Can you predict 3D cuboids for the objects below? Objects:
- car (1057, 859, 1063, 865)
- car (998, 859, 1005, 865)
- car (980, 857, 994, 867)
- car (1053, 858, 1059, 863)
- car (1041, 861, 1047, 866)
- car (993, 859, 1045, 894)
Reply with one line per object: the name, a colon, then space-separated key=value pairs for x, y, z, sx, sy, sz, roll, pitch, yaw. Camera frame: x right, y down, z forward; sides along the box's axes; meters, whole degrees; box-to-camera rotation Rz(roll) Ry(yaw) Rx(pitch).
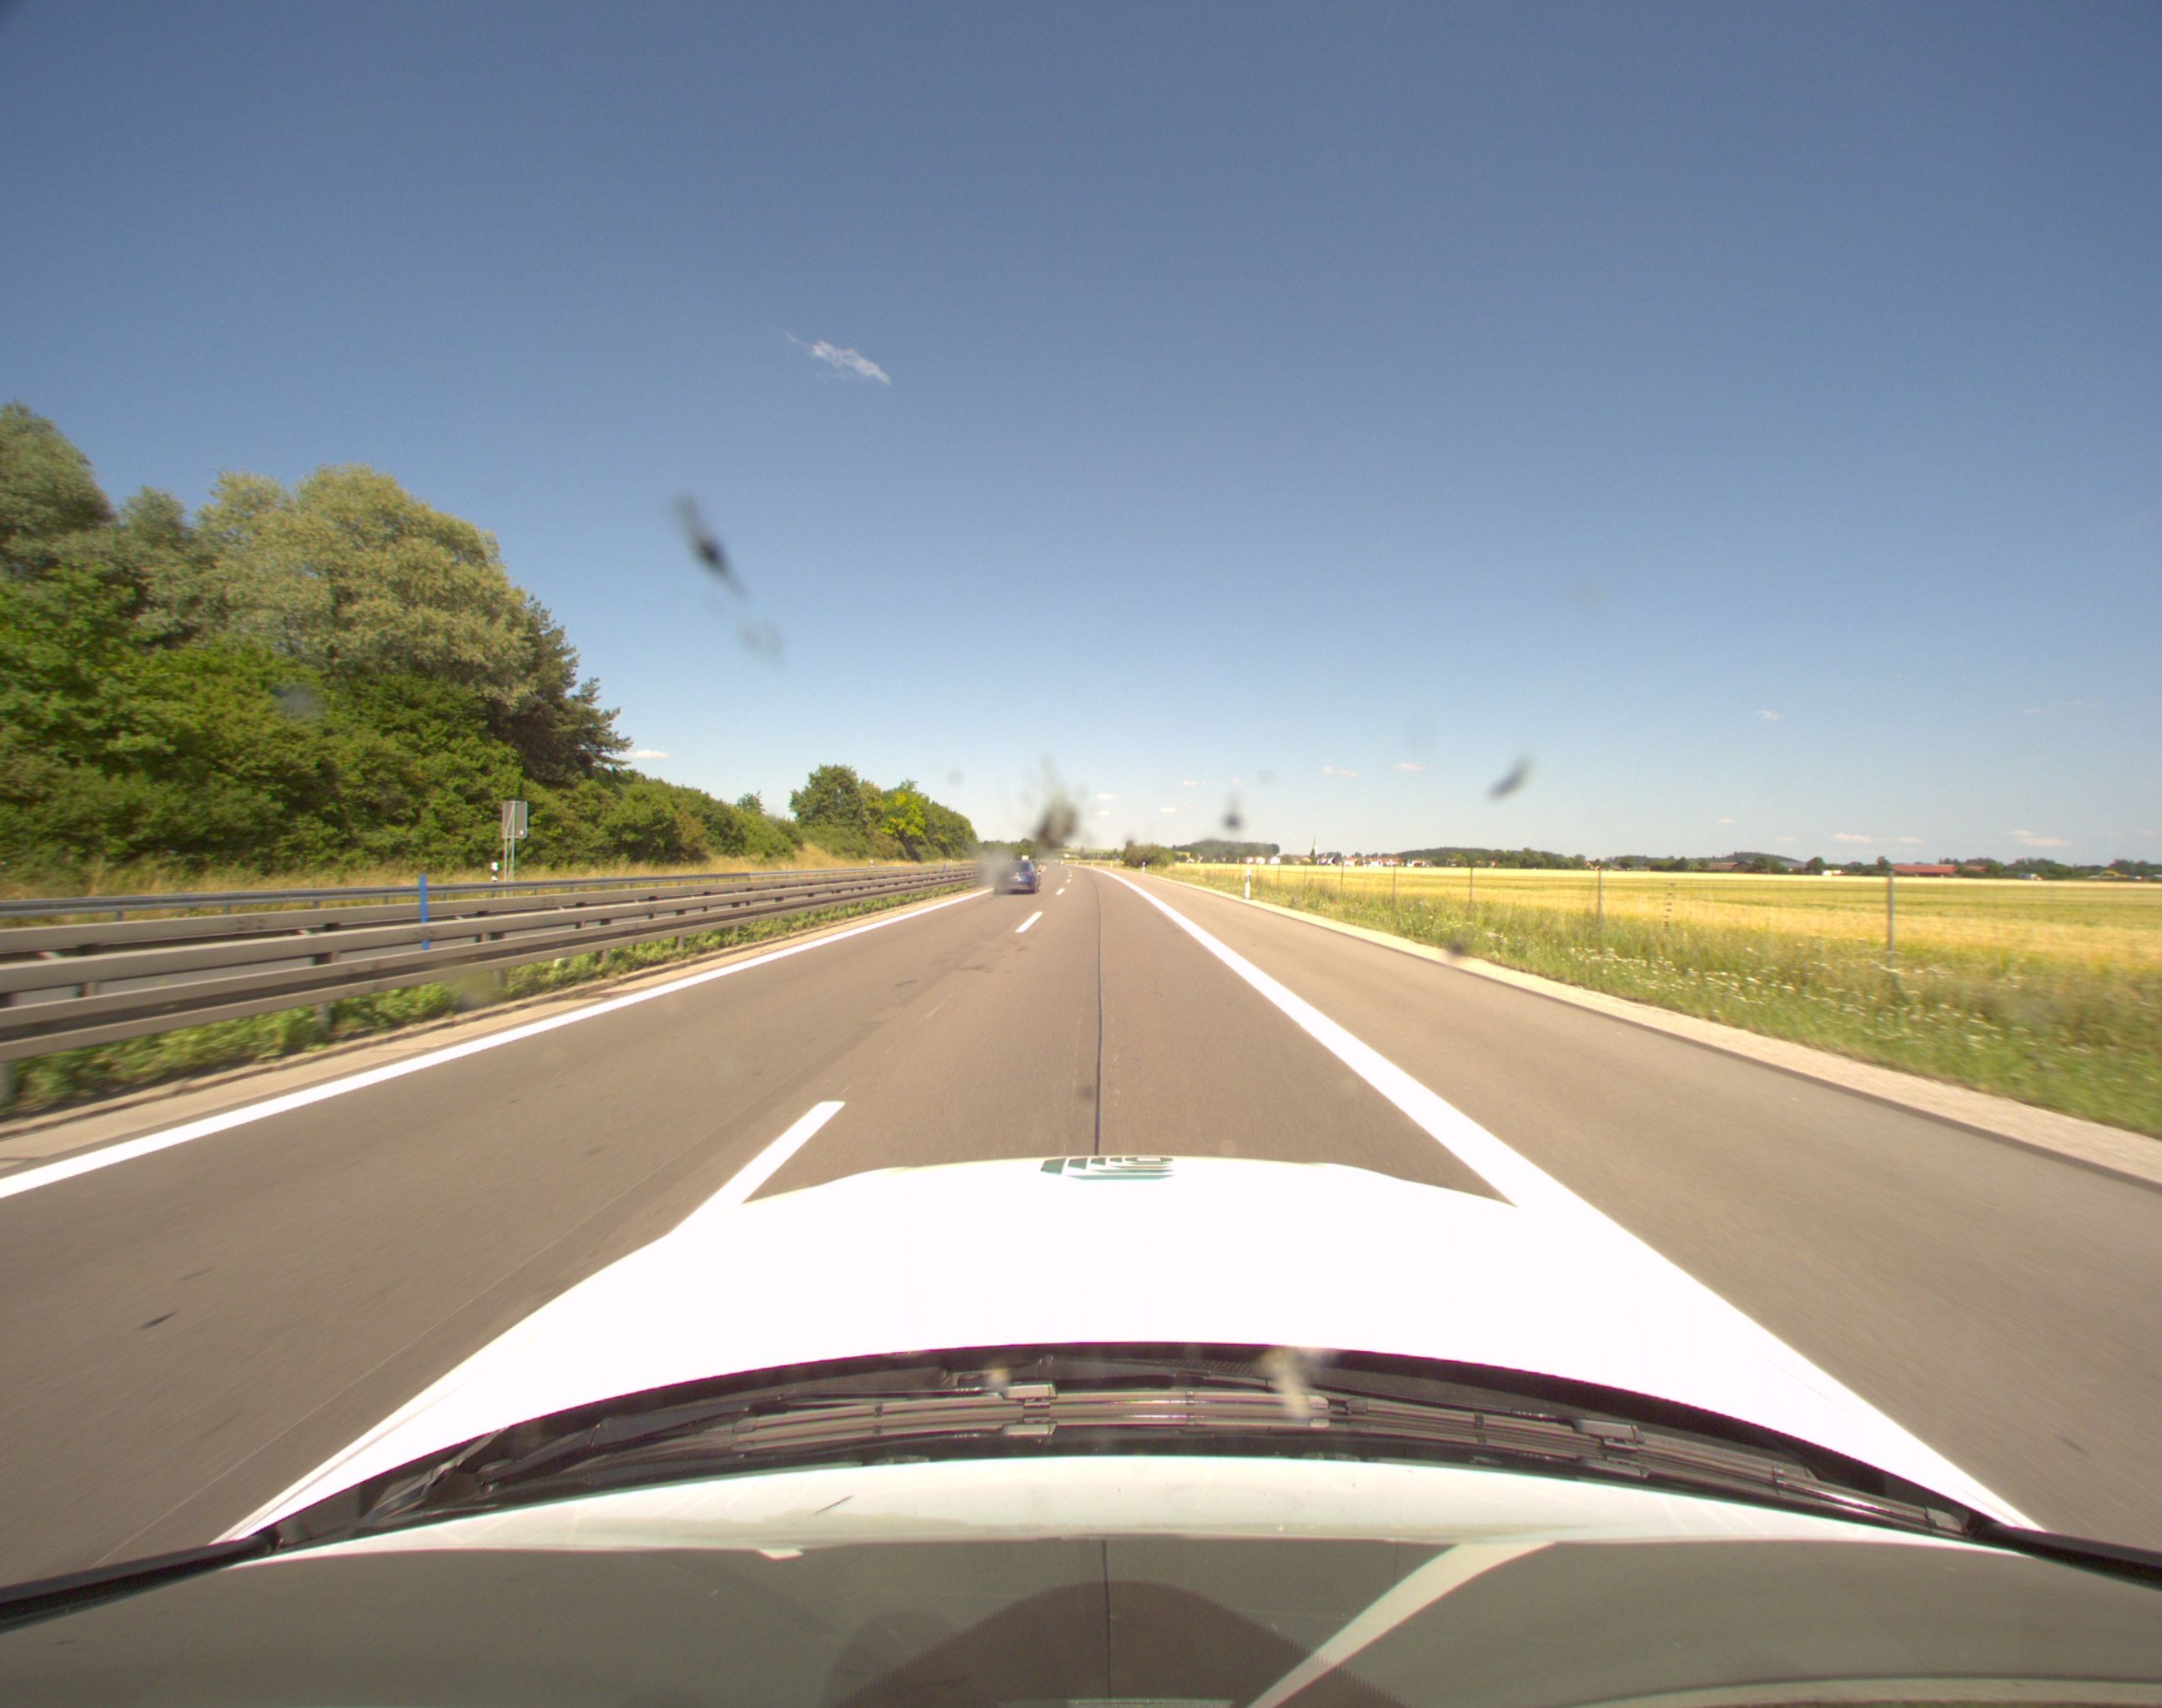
car: x=-5.403 y=2.103 z=210.879 sx=1.671 sy=1.453 sz=3.589 roll=0 pitch=0 yaw=-2
car: x=-18.573 y=1.866 z=190.124 sx=1.574 sy=1.462 sz=4.148 roll=0 pitch=0 yaw=-3
car: x=-15.420 y=1.250 z=134.171 sx=1.746 sy=1.565 sz=4.578 roll=1 pitch=0 yaw=-1
car: x=-7.592 y=2.038 z=248.066 sx=1.672 sy=1.453 sz=3.587 roll=0 pitch=0 yaw=-4
car: x=-10.087 y=2.572 z=222.031 sx=1.672 sy=1.453 sz=3.589 roll=0 pitch=0 yaw=-2
car: x=-2.759 y=0.968 z=37.564 sx=1.841 sy=1.433 sz=5.866 roll=0 pitch=0 yaw=1
